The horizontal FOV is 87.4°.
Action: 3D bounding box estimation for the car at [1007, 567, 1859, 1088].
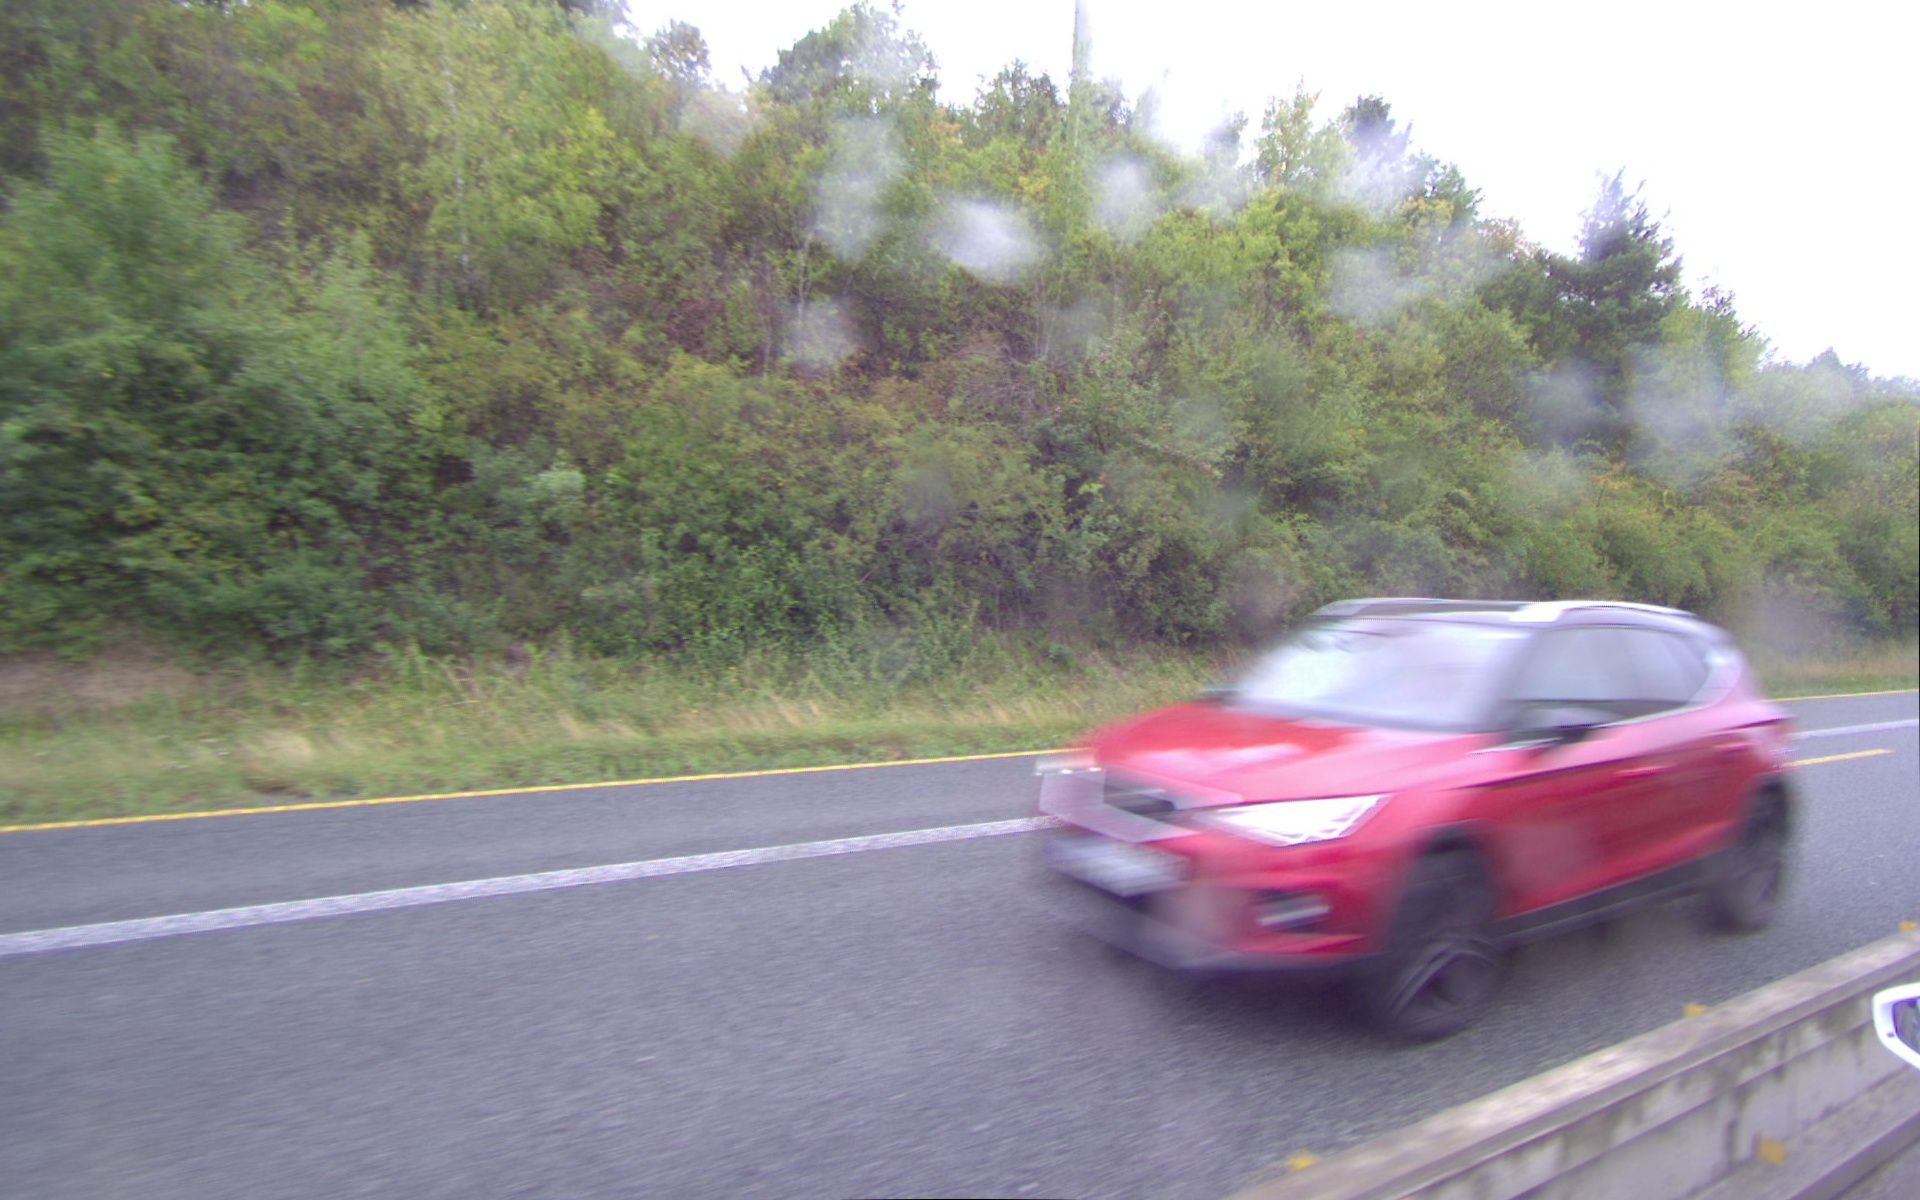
[{"bbox_3d":[2.371,0.731,4.824,3.953,1.576,1.786,2,0,-31],"label":"car"}]
